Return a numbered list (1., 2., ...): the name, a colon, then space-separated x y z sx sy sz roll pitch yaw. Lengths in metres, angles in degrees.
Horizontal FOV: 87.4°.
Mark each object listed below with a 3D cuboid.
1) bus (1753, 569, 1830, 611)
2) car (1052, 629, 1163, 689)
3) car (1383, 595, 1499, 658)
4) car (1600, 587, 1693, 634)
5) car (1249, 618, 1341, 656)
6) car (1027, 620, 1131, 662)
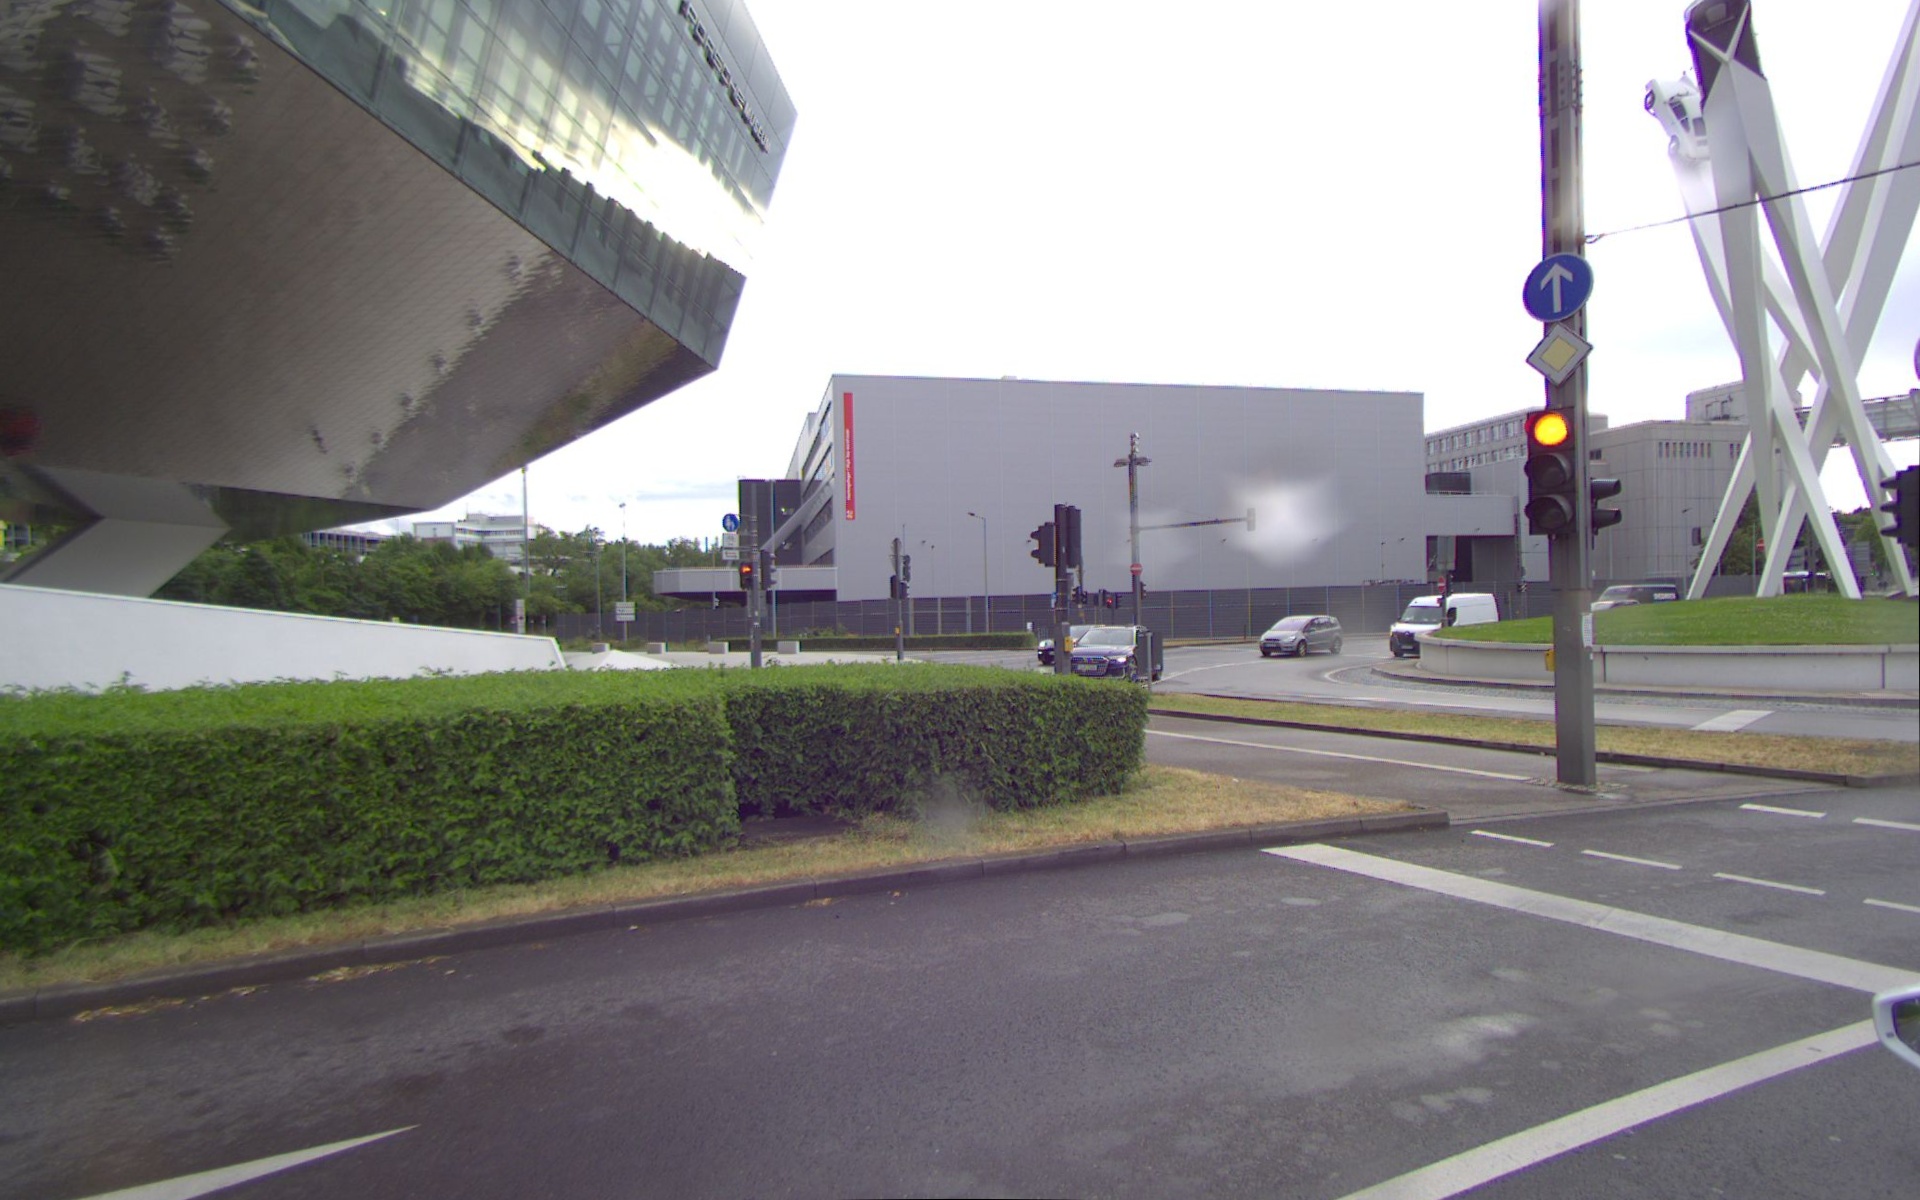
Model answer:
1. bus: 69.169 -0.744 83.407 12.563 3.243 2.647 1 -1 -40
2. car: 3.845 1.434 25.627 1.816 1.356 3.998 0 -1 24
3. car: 20.140 1.074 41.964 5.371 2.479 1.981 1 -1 -35
4. car: 43.169 0.699 63.106 7.042 2.858 1.958 1 -1 -30
5. car: 14.238 1.538 42.644 3.963 1.514 1.820 1 -1 -37
6. car: 4.585 1.515 38.224 1.811 1.491 4.493 0 -1 39
